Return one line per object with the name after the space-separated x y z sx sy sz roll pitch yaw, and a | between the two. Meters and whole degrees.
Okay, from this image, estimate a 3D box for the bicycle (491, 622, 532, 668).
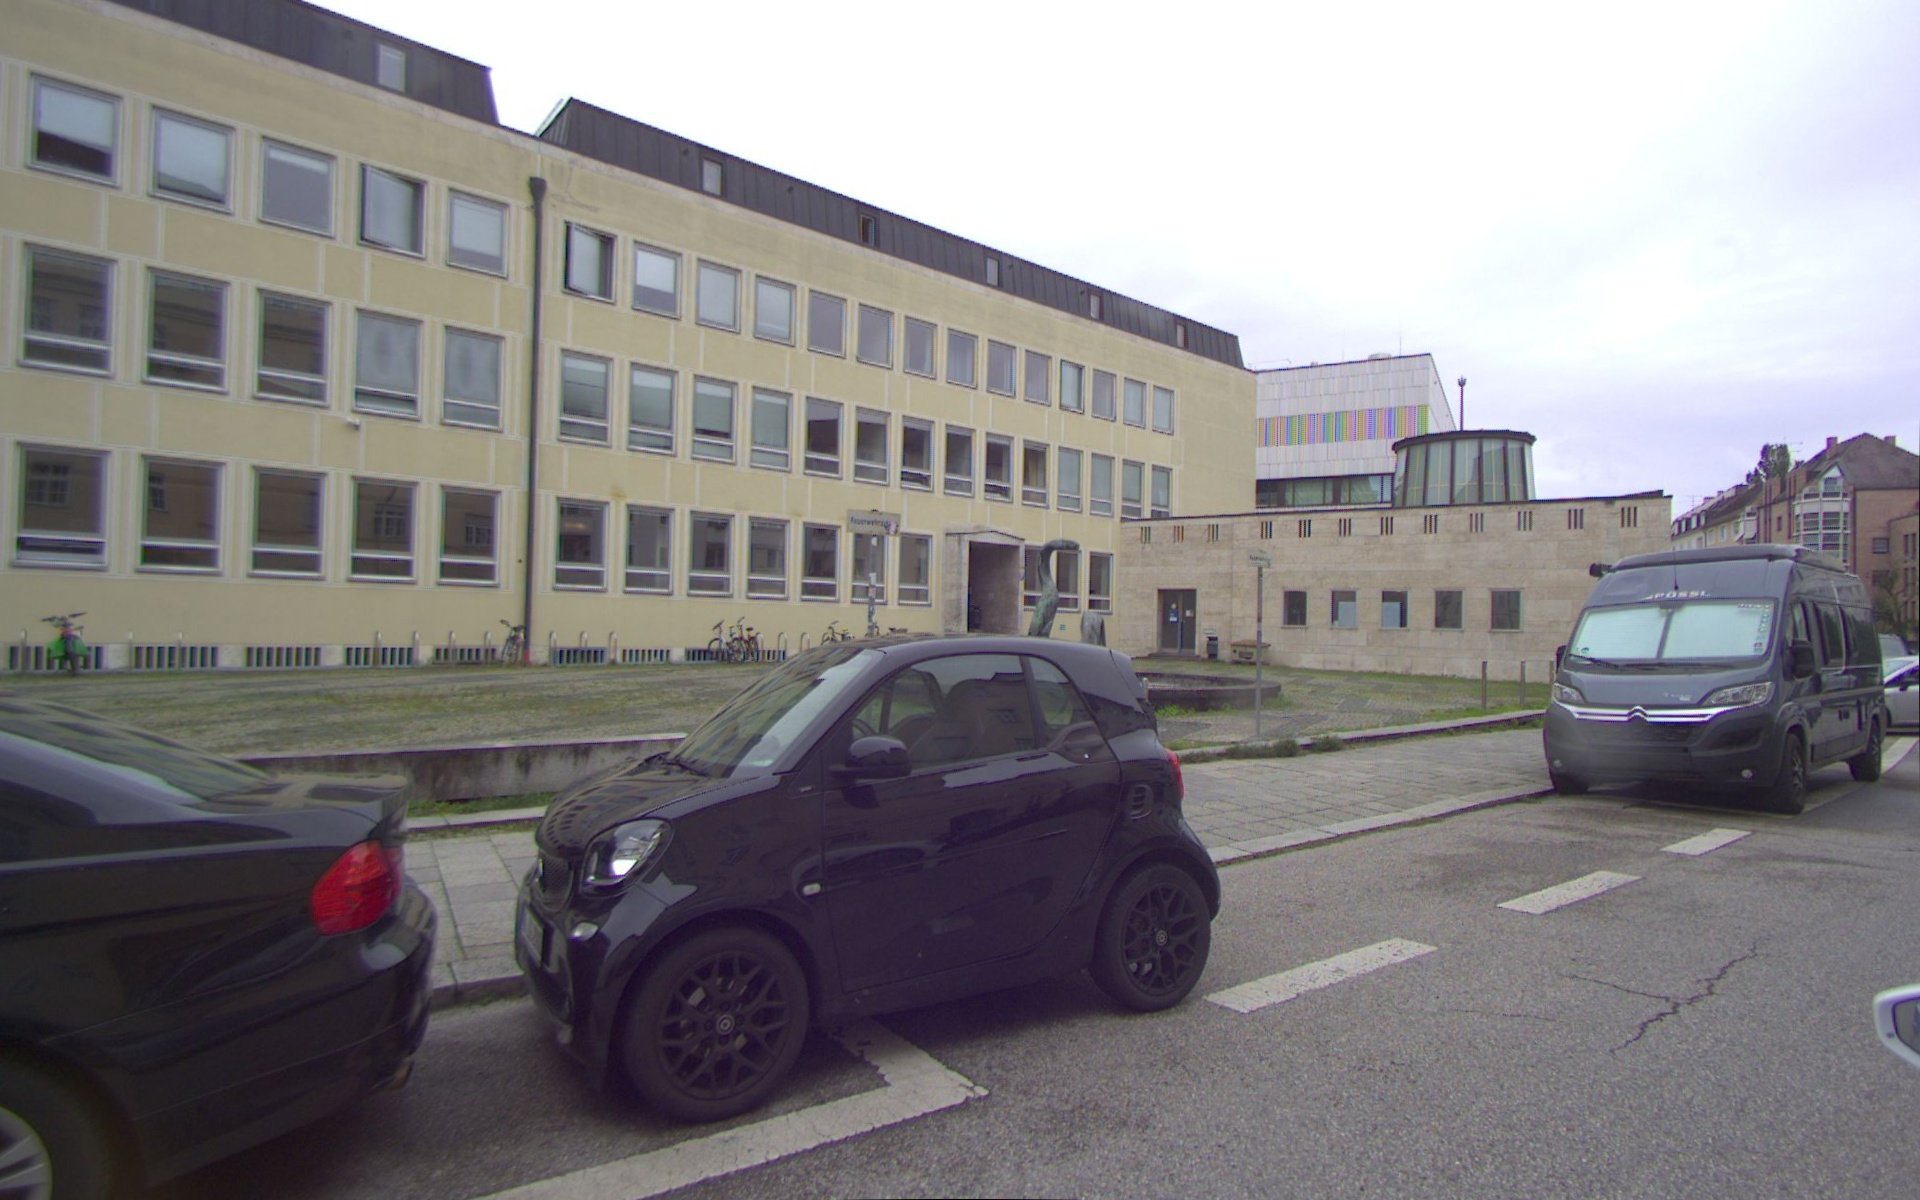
-10.815 1.065 24.202 0.619 1.028 1.936 2 -1 -32 | bicycle

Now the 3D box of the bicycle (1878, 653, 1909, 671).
73.655 4.896 79.266 1.730 1.305 0.551 1 -1 34 | bicycle

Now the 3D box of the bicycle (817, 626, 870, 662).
-3.517 1.303 30.212 0.620 1.028 1.930 2 -1 -40 | bicycle

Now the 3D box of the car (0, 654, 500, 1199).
-3.531 0.830 2.202 4.405 1.424 1.790 2 -3 -31 | car

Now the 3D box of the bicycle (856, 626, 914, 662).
-2.316 1.349 30.949 1.926 1.028 0.622 0 -1 43 | bicycle

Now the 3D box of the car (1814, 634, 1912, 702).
25.681 1.886 28.701 1.657 1.729 4.497 0 -2 37 | car

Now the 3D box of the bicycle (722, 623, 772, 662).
-6.047 1.186 28.461 0.619 1.028 1.933 2 -1 -36 | bicycle

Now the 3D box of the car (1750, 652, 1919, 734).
17.939 1.781 19.224 4.004 1.500 1.686 -1 -5 13 | car

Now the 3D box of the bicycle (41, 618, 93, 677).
-16.516 0.855 18.604 0.620 1.028 1.931 2 -1 -39 | bicycle

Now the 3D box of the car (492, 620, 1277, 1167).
-0.283 0.900 4.331 2.945 1.521 1.661 2 -3 -32 | car

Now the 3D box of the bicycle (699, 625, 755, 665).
-6.429 1.231 27.616 0.621 1.028 1.929 2 -1 -42 | bicycle

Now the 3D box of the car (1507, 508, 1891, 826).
8.466 0.677 11.225 5.969 2.676 2.146 2 -3 -41 | car
